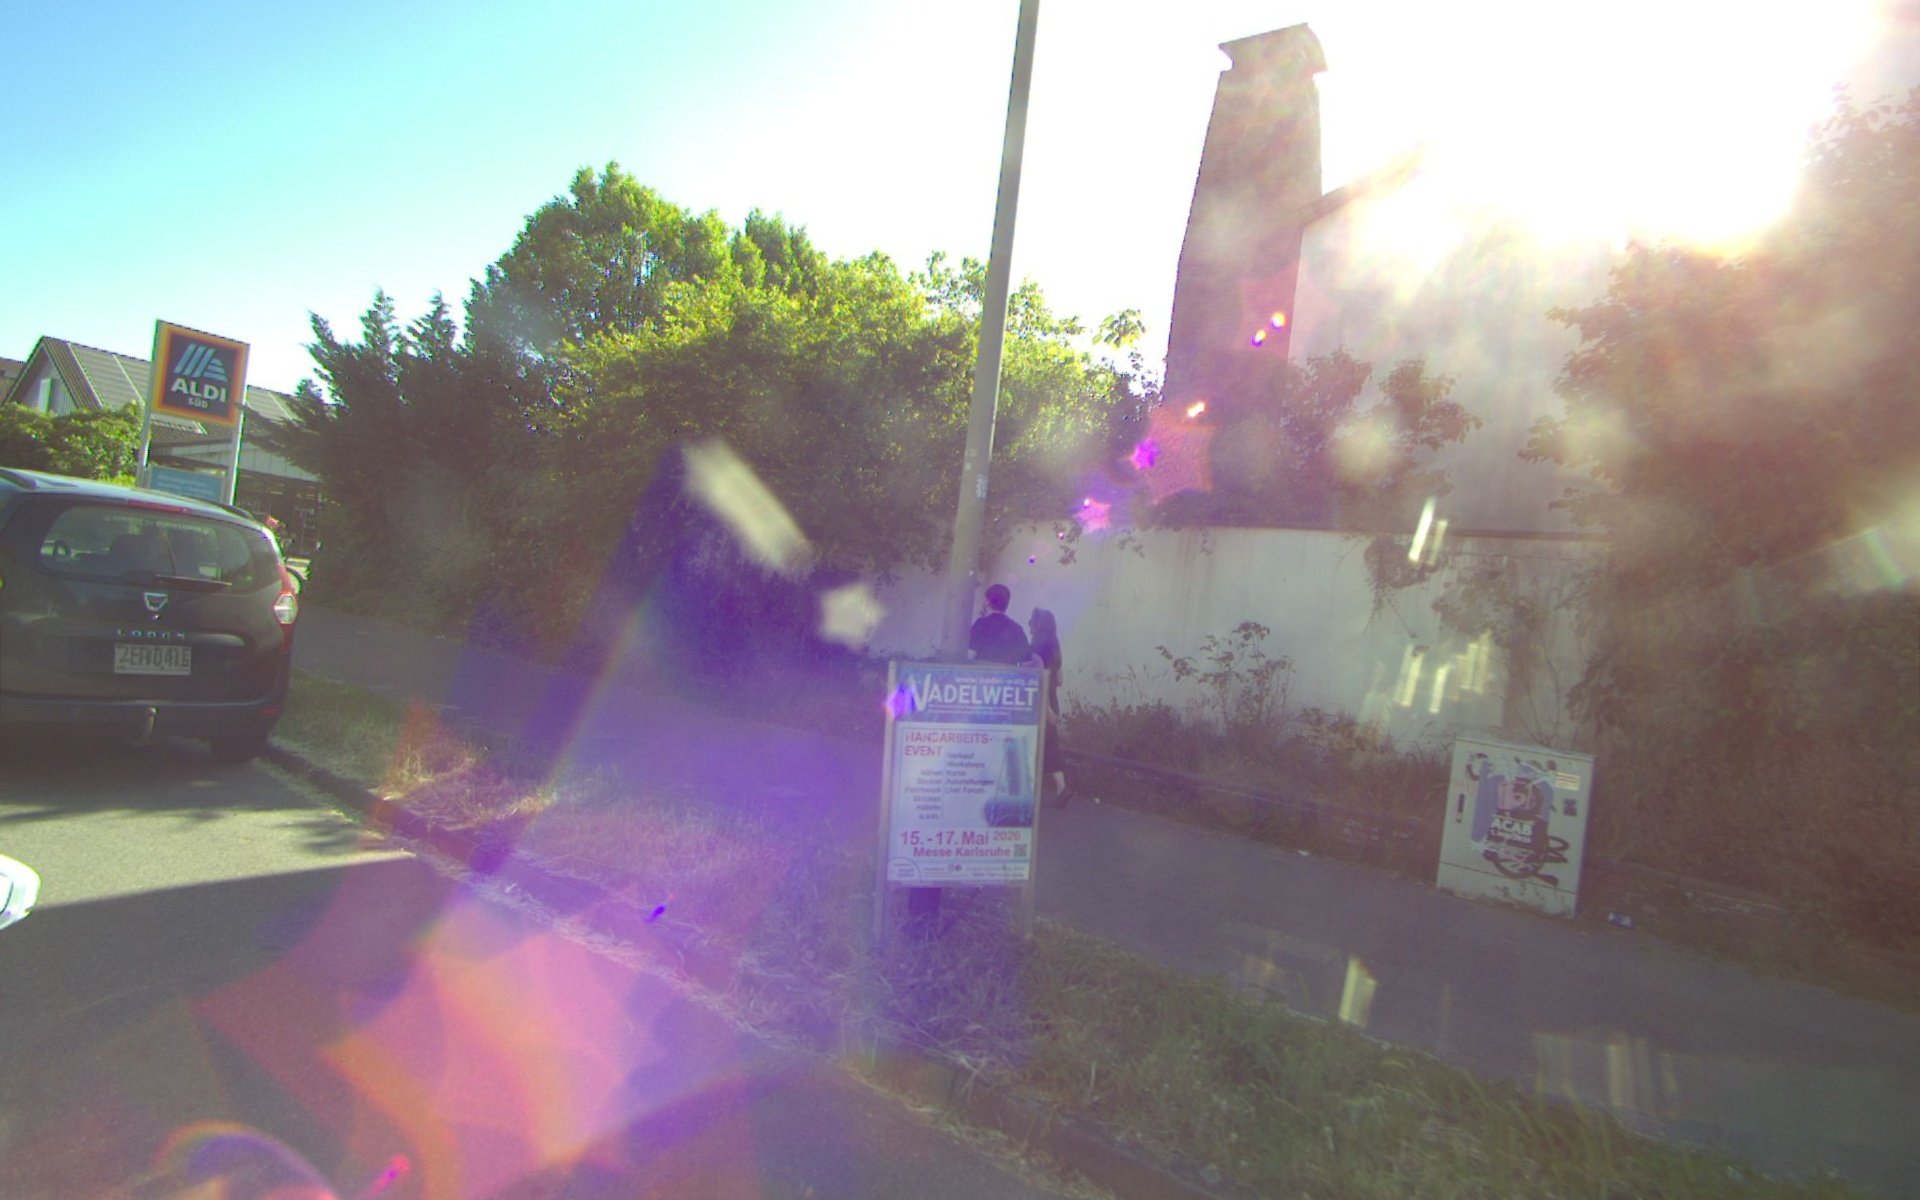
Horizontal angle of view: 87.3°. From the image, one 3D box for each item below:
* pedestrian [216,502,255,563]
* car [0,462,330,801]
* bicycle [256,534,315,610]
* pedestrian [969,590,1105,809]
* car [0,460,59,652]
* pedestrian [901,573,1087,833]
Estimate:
[{"bbox_3d":[-21.018,-1.948,29.194,0.686,1.651,0.770,7,0,-32],"label":"pedestrian"},{"bbox_3d":[-6.133,0.018,6.706,4.286,1.676,1.725,7,-1,37],"label":"car"},{"bbox_3d":[-12.094,-0.516,18.014,0.716,1.236,1.877,5,0,-37],"label":"bicycle"},{"bbox_3d":[0.621,0.777,8.128,0.780,1.629,0.573,5,0,34],"label":"pedestrian"},{"bbox_3d":[-11.355,-0.689,10.635,4.584,1.827,1.840,7,-1,38],"label":"car"},{"bbox_3d":[0.258,0.728,7.524,0.968,1.738,0.804,5,0,34],"label":"pedestrian"}]
